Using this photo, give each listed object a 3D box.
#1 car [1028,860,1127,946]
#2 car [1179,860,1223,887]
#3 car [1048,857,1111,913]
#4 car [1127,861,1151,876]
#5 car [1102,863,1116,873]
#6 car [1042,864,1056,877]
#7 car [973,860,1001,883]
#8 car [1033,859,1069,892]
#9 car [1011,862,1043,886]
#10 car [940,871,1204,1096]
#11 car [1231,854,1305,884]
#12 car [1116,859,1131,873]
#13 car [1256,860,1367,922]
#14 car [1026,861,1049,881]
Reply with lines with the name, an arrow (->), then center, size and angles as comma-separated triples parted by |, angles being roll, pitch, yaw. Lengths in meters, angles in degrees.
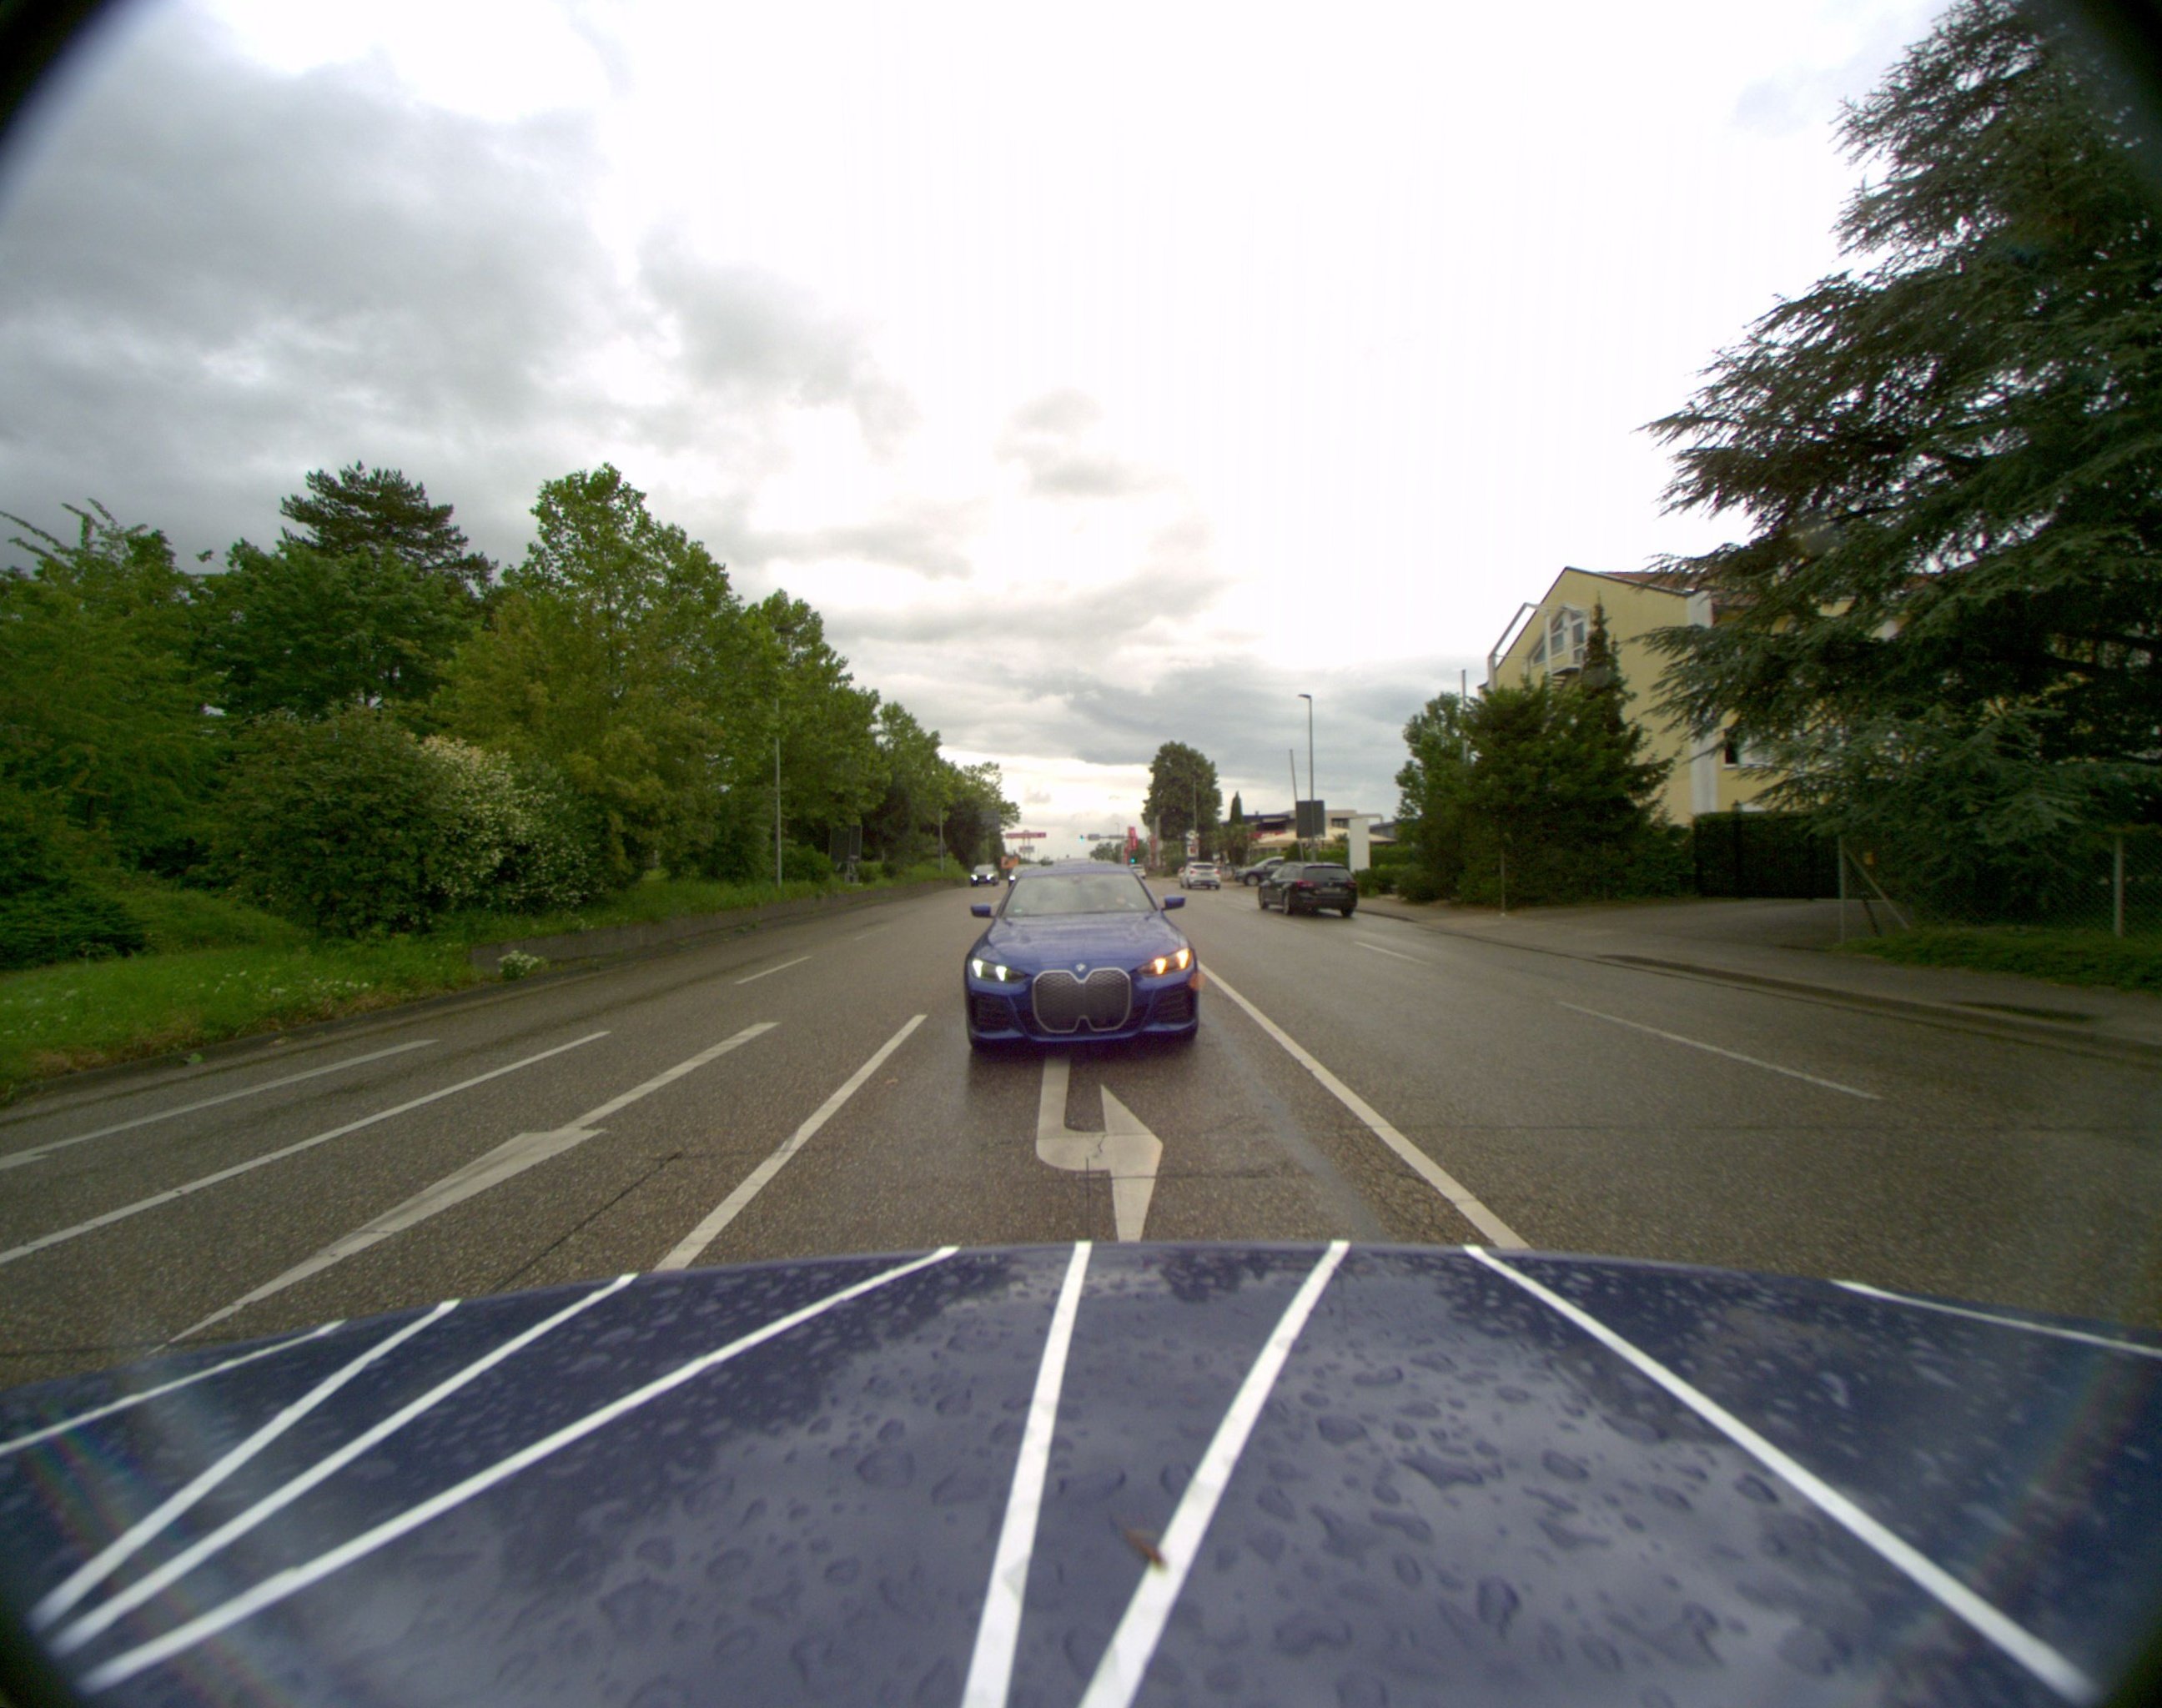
car -> -0.055, 0.923, 16.156 | 1.807, 1.543, 4.223 | -1, 0, 0
car -> 6.627, 1.051, 42.216 | 1.751, 1.389, 3.801 | -1, 0, -1
car -> -0.033, 0.912, 23.857 | 1.807, 1.543, 4.000 | -1, 0, 0
car -> 5.928, 1.434, 78.304 | 1.973, 1.446, 4.307 | 0, 0, -2
car -> 4.401, 2.157, 118.591 | 1.790, 1.451, 4.431 | -1, 0, -3
car -> -4.467, 2.326, 106.090 | 1.828, 1.612, 3.841 | -1, 1, 0
car -> -7.133, 1.331, 58.040 | 1.705, 1.612, 3.841 | -3, -1, -2
car -> -1.531, 1.111, 40.240 | 1.698, 1.580, 4.000 | -1, 0, 1
car -> -3.454, 1.251, 49.115 | 1.795, 1.451, 4.719 | -1, 0, -1
car -> -0.065, 0.948, 7.399 | 1.803, 1.399, 4.272 | -1, 0, 0
car -> 10.744, 0.880, 43.859 | 3.930, 1.642, 1.719 | -1, 1, 6
car -> 5.256, 1.494, 94.014 | 1.703, 1.590, 3.549 | 0, 1, 0
car -> 6.437, 0.955, 21.712 | 1.780, 1.493, 4.471 | -1, 1, 0
car -> -4.099, 1.575, 72.210 | 1.979, 1.613, 3.841 | -3, 1, 0
